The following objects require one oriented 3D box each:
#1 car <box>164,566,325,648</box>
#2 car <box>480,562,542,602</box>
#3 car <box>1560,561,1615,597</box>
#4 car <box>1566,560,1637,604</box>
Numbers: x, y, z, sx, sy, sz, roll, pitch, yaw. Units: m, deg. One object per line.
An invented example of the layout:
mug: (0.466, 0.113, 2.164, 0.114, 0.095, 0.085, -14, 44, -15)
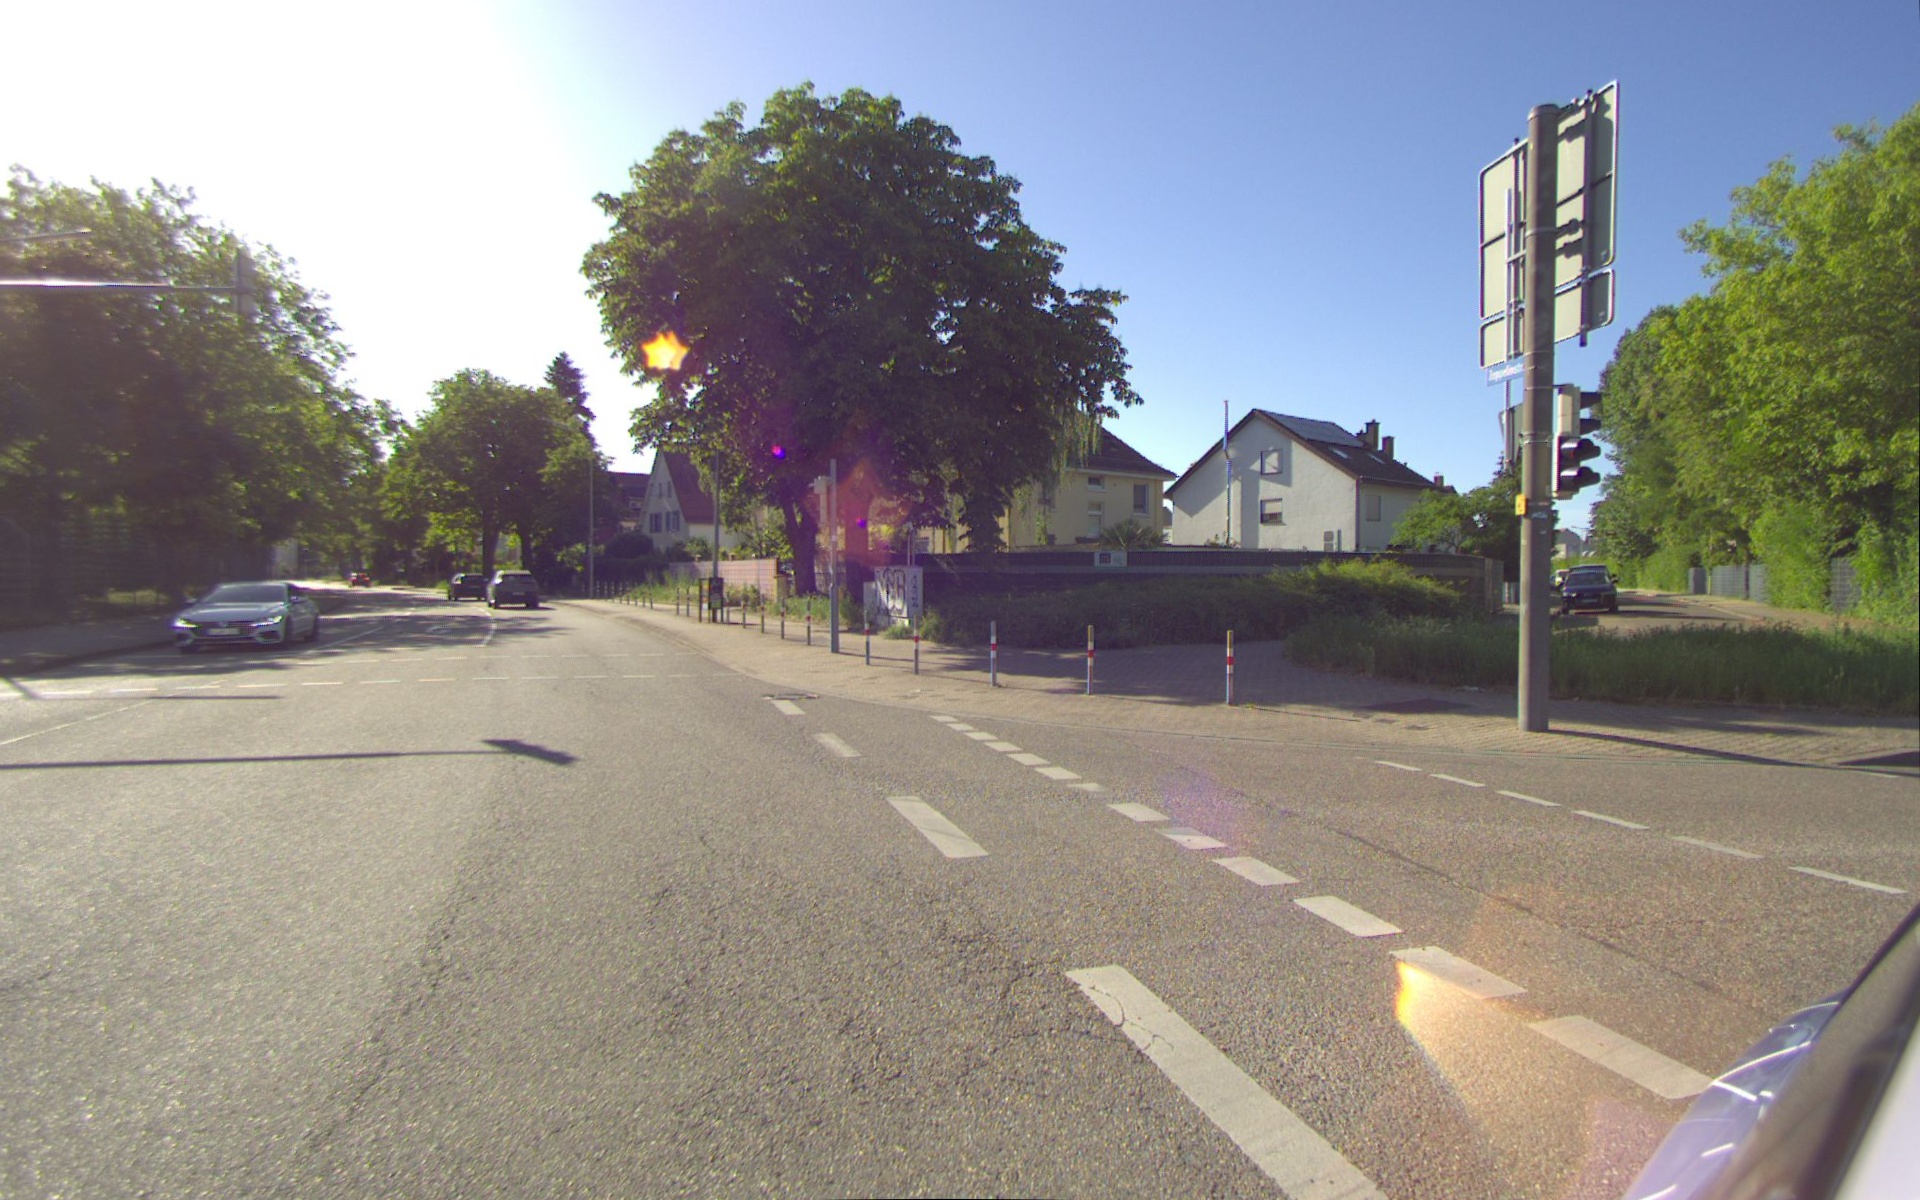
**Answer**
car: (-15.015, 0.058, 21.516, 1.772, 1.551, 4.525, 0, 2, -22)
car: (-19.468, -0.786, 43.742, 1.826, 1.655, 4.259, 0, 1, -33)
car: (30.656, -1.055, 49.370, 1.952, 1.687, 3.948, 1, 2, 37)
car: (24.227, -0.686, 38.148, 1.988, 1.575, 3.948, 0, 1, 37)
